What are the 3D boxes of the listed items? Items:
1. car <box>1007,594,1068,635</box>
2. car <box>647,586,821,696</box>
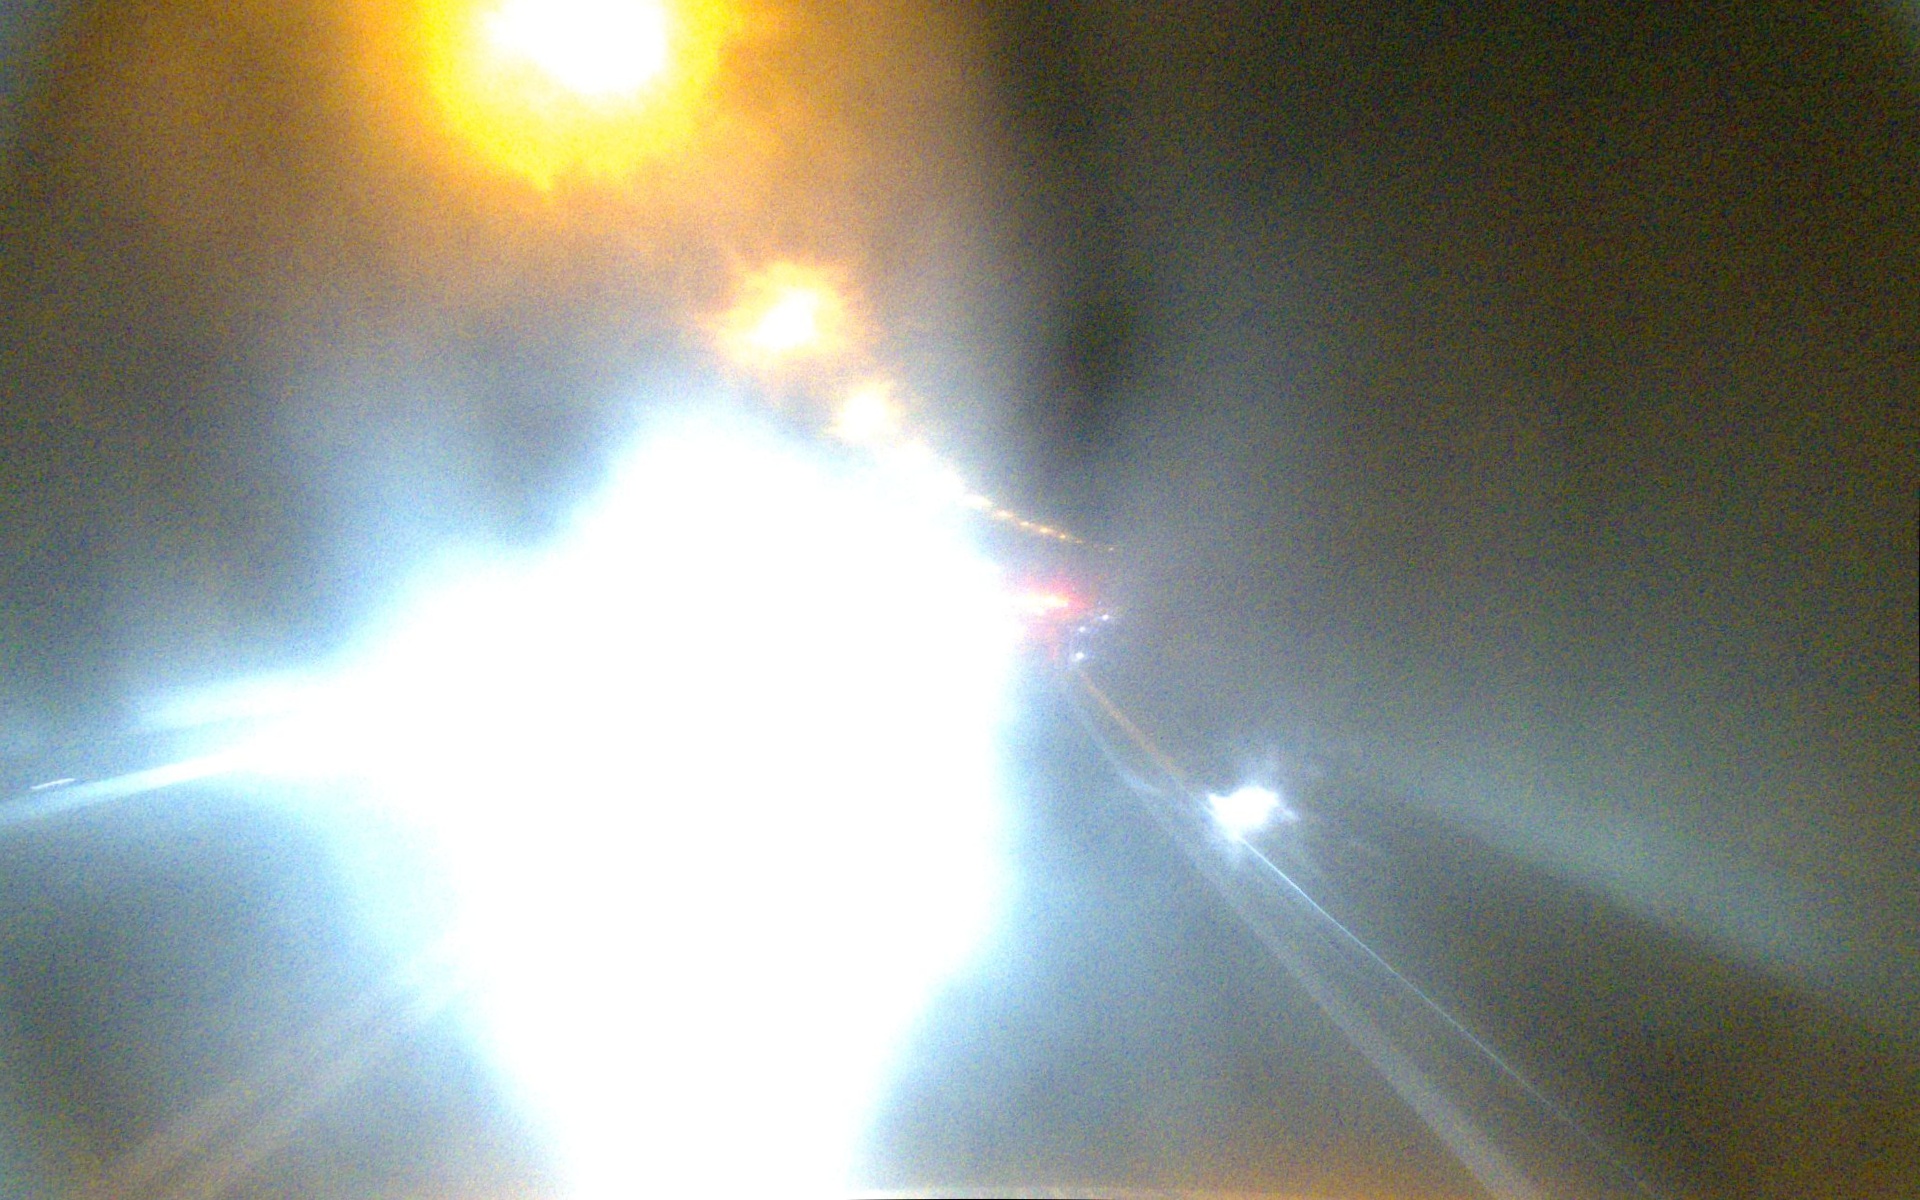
[{"bbox_3d":[3.479,0.662,73.812,2.045,1.691,4.003,2,0,12],"label":"car"},{"bbox_3d":[-3.198,0.537,24.323,1.796,1.407,4.647,2,0,1],"label":"car"}]
